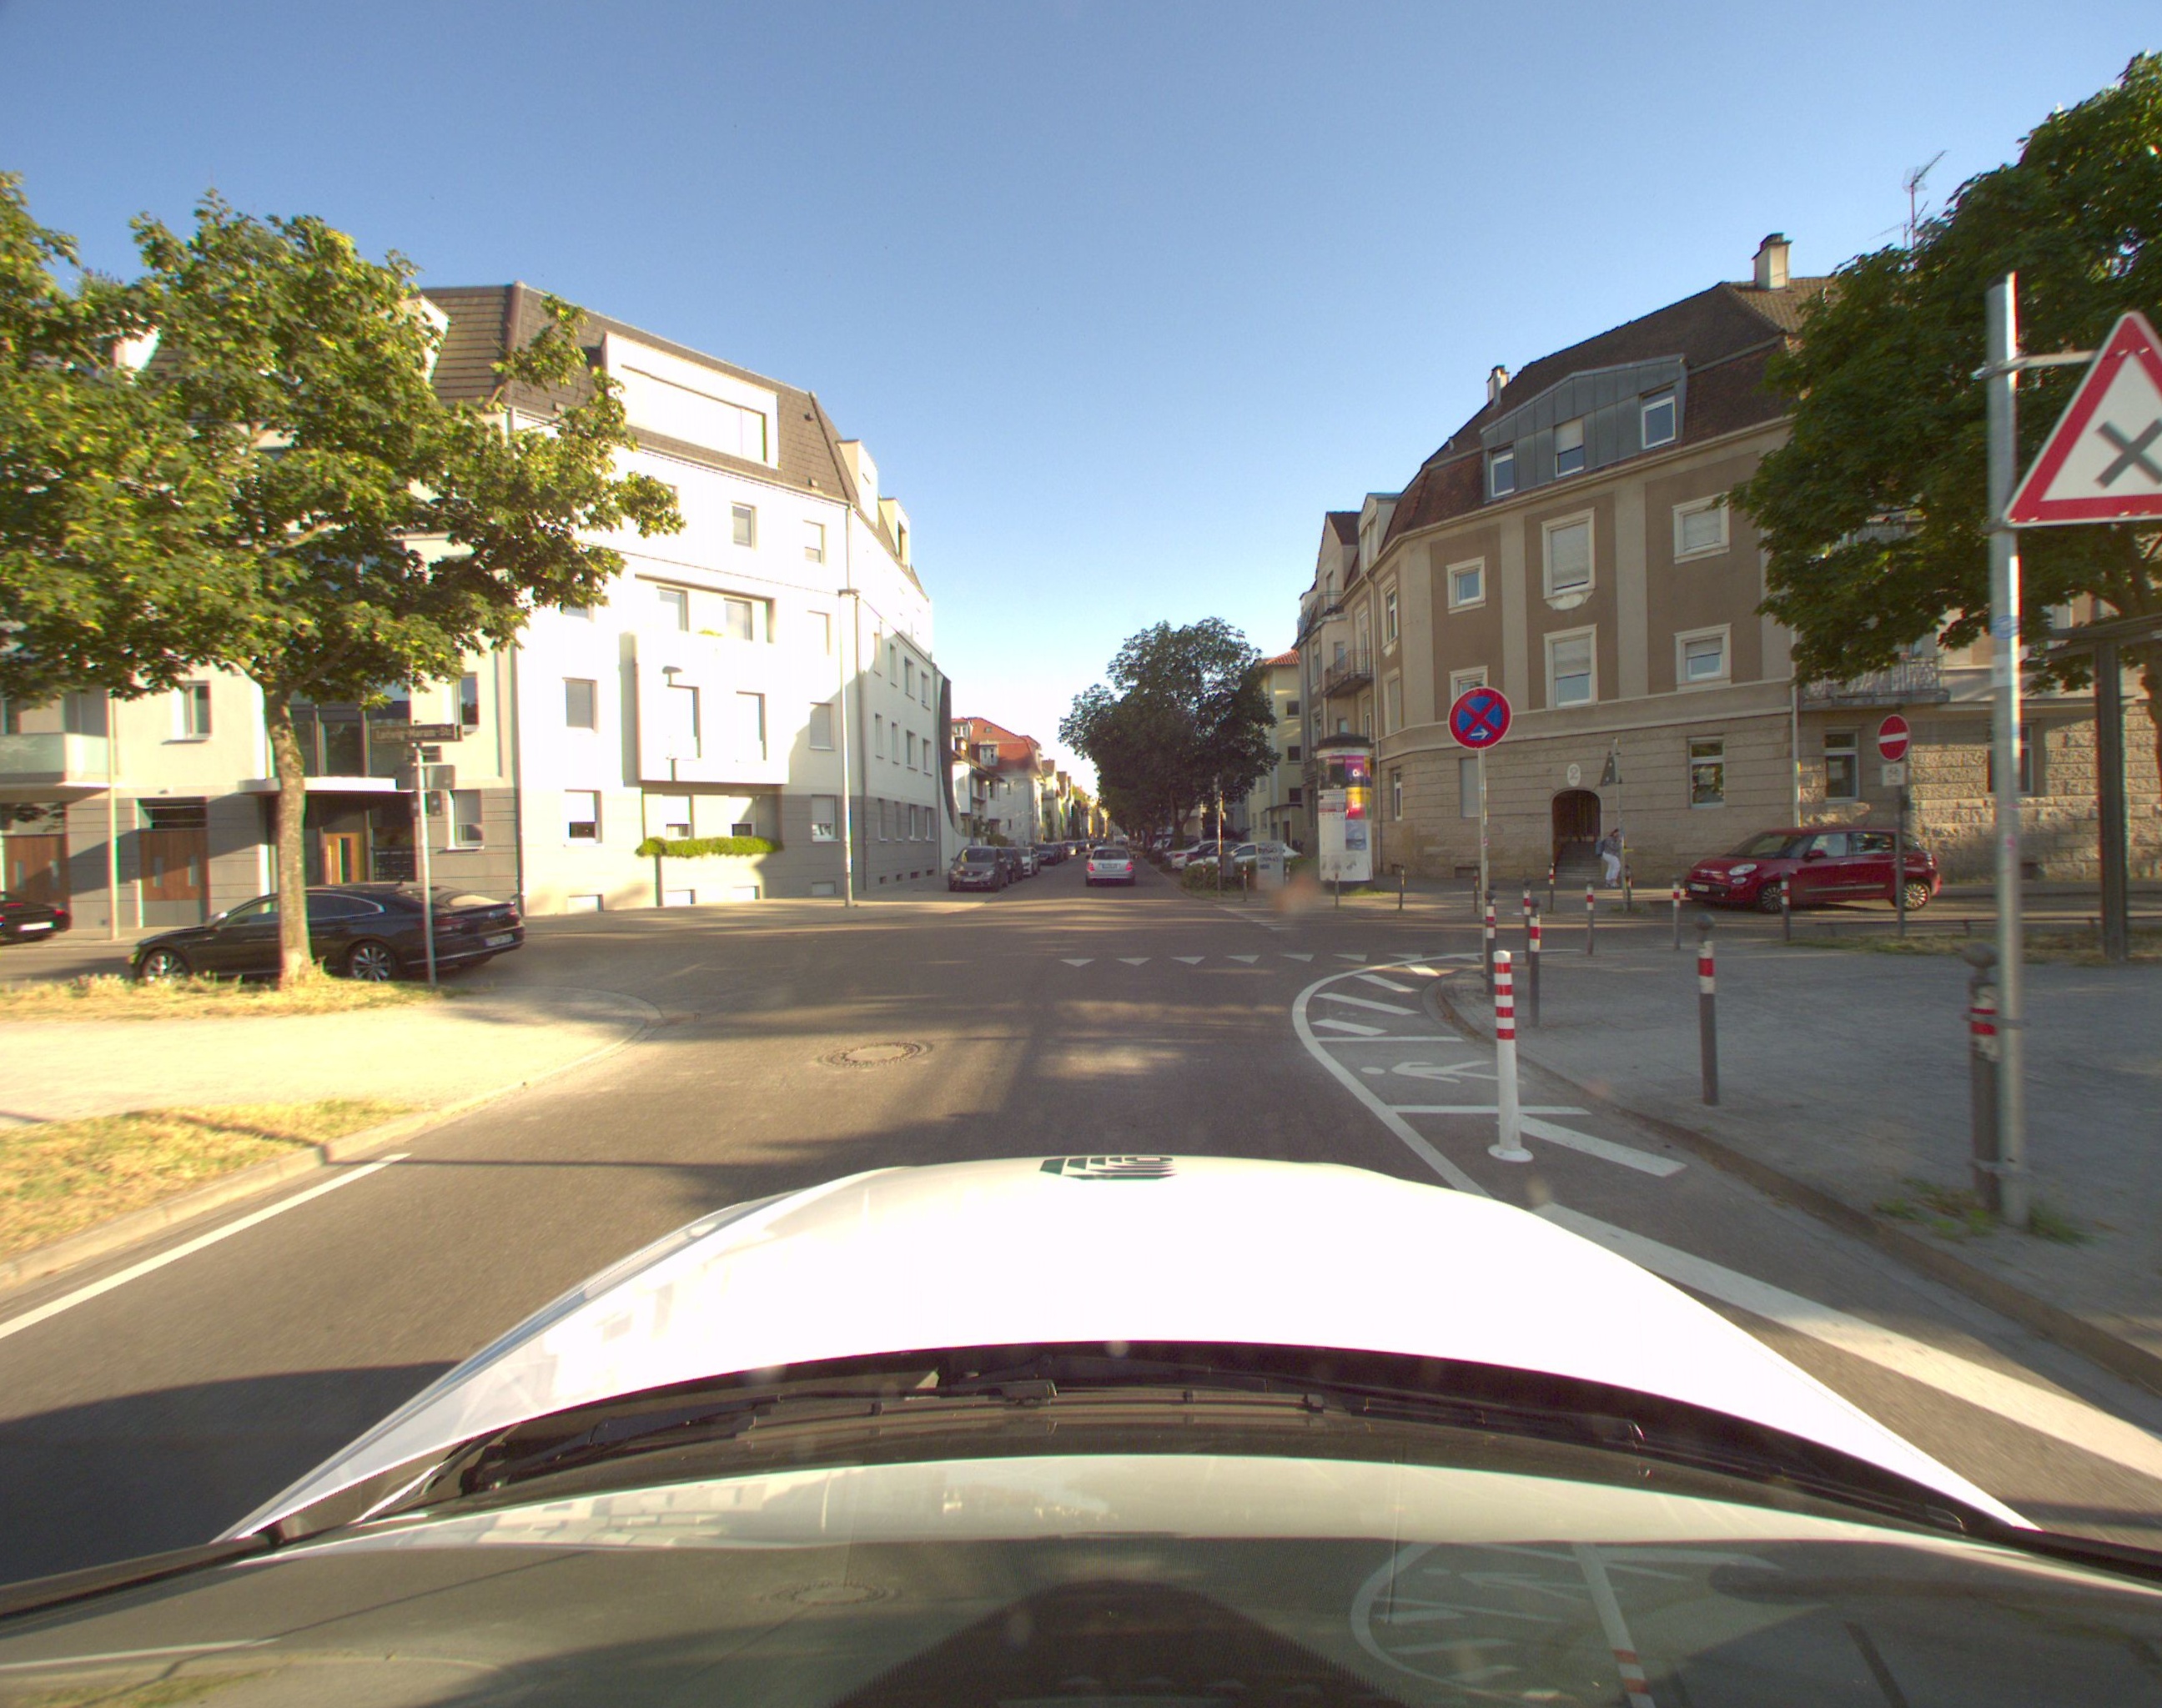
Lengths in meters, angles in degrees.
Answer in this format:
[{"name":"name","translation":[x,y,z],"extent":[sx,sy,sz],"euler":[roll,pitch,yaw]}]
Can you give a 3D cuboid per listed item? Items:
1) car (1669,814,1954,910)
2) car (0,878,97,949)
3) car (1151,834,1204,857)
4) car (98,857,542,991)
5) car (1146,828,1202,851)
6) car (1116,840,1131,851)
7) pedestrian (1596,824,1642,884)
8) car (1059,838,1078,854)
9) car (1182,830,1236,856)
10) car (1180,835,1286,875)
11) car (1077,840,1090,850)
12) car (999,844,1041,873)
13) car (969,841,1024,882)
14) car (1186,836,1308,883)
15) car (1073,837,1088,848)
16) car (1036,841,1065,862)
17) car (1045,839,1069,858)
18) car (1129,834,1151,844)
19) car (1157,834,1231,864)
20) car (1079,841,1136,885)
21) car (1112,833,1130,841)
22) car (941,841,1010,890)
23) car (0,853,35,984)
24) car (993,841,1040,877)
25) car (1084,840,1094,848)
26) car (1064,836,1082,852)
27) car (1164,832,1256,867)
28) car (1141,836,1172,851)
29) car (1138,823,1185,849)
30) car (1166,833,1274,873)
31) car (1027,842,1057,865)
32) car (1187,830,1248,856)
[{"name":"car","translation":[14.601,0.116,16.489],"extent":[4.056,1.740,1.814],"euler":[-1,3,4]},{"name":"car","translation":[-25.110,1.341,18.459],"extent":[3.702,1.422,1.628],"euler":[-1,3,3]},{"name":"car","translation":[7.109,-0.632,60.145],"extent":[3.717,1.558,1.726],"euler":[-2,1,1]},{"name":"car","translation":[-10.817,0.954,11.800],"extent":[4.803,1.669,1.790],"euler":[-1,1,3]},{"name":"car","translation":[7.815,-1.208,68.692],"extent":[4.608,1.836,1.955],"euler":[-1,1,2]},{"name":"car","translation":[5.815,-1.182,110.743],"extent":[1.808,1.473,4.222],"euler":[-2,0,5]},{"name":"pedestrian","translation":[14.216,-0.004,21.530],"extent":[0.812,1.544,0.745],"euler":[-2,2,15]},{"name":"car","translation":[-1.237,-0.823,82.420],"extent":[1.652,1.499,3.757],"euler":[-1,1,3]},{"name":"car","translation":[9.007,-0.776,57.424],"extent":[3.534,1.654,1.726],"euler":[-2,1,1]},{"name":"car","translation":[6.349,0.033,34.295],"extent":[4.128,1.448,1.674],"euler":[-3,1,1]},{"name":"car","translation":[0.366,-1.403,126.455],"extent":[1.792,1.482,3.860],"euler":[-1,1,2]},{"name":"car","translation":[-3.230,0.195,43.855],"extent":[1.751,1.447,4.146],"euler":[-1,1,3]},{"name":"car","translation":[-3.533,0.265,34.808],"extent":[1.878,1.591,4.090],"euler":[-1,1,0]},{"name":"car","translation":[5.952,0.191,29.472],"extent":[4.033,1.505,1.863],"euler":[-2,1,1]},{"name":"car","translation":[-0.056,-1.585,110.136],"extent":[1.792,1.482,3.860],"euler":[-1,1,2]},{"name":"car","translation":[-2.301,-0.243,62.008],"extent":[1.776,1.497,4.703],"euler":[-1,1,3]},{"name":"car","translation":[-1.948,-0.466,67.819],"extent":[1.652,1.488,3.757],"euler":[-1,1,3]},{"name":"car","translation":[10.294,-2.651,142.685],"extent":[3.828,1.482,1.807],"euler":[-2,1,3]},{"name":"car","translation":[6.753,-0.310,48.787],"extent":[4.175,1.558,1.875],"euler":[-2,1,1]},{"name":"car","translation":[1.047,0.308,30.232],"extent":[1.808,1.473,4.222],"euler":[-2,0,5]},{"name":"car","translation":[9.017,-3.848,184.316],"extent":[1.542,1.474,4.219],"euler":[-1,0,-42]},{"name":"car","translation":[-3.729,0.359,29.383],"extent":[1.878,1.591,4.090],"euler":[-1,1,0]},{"name":"car","translation":[-19.198,1.118,12.040],"extent":[4.662,2.012,2.035],"euler":[-1,4,1]},{"name":"car","translation":[-3.062,0.201,39.404],"extent":[1.878,1.591,4.090],"euler":[-1,1,0]},{"name":"car","translation":[1.495,-1.791,149.990],"extent":[1.792,1.387,3.609],"euler":[-1,1,2]},{"name":"car","translation":[-0.835,-1.162,91.851],"extent":[1.792,1.644,3.860],"euler":[-1,1,2]},{"name":"car","translation":[6.707,-0.259,42.547],"extent":[4.510,1.640,1.875],"euler":[-2,1,1]},{"name":"car","translation":[8.984,-1.206,96.854],"extent":[3.583,1.659,1.650],"euler":[-2,1,0]},{"name":"car","translation":[9.827,-2.250,99.736],"extent":[5.524,2.968,2.472],"euler":[-2,1,0]},{"name":"car","translation":[6.264,-0.062,36.957],"extent":[4.467,1.525,1.952],"euler":[-3,2,-4]},{"name":"car","translation":[-2.645,-0.072,55.939],"extent":[1.848,1.497,4.654],"euler":[-1,1,0]},{"name":"car","translation":[9.203,-0.739,55.130],"extent":[3.907,1.558,1.727],"euler":[-2,2,4]}]
